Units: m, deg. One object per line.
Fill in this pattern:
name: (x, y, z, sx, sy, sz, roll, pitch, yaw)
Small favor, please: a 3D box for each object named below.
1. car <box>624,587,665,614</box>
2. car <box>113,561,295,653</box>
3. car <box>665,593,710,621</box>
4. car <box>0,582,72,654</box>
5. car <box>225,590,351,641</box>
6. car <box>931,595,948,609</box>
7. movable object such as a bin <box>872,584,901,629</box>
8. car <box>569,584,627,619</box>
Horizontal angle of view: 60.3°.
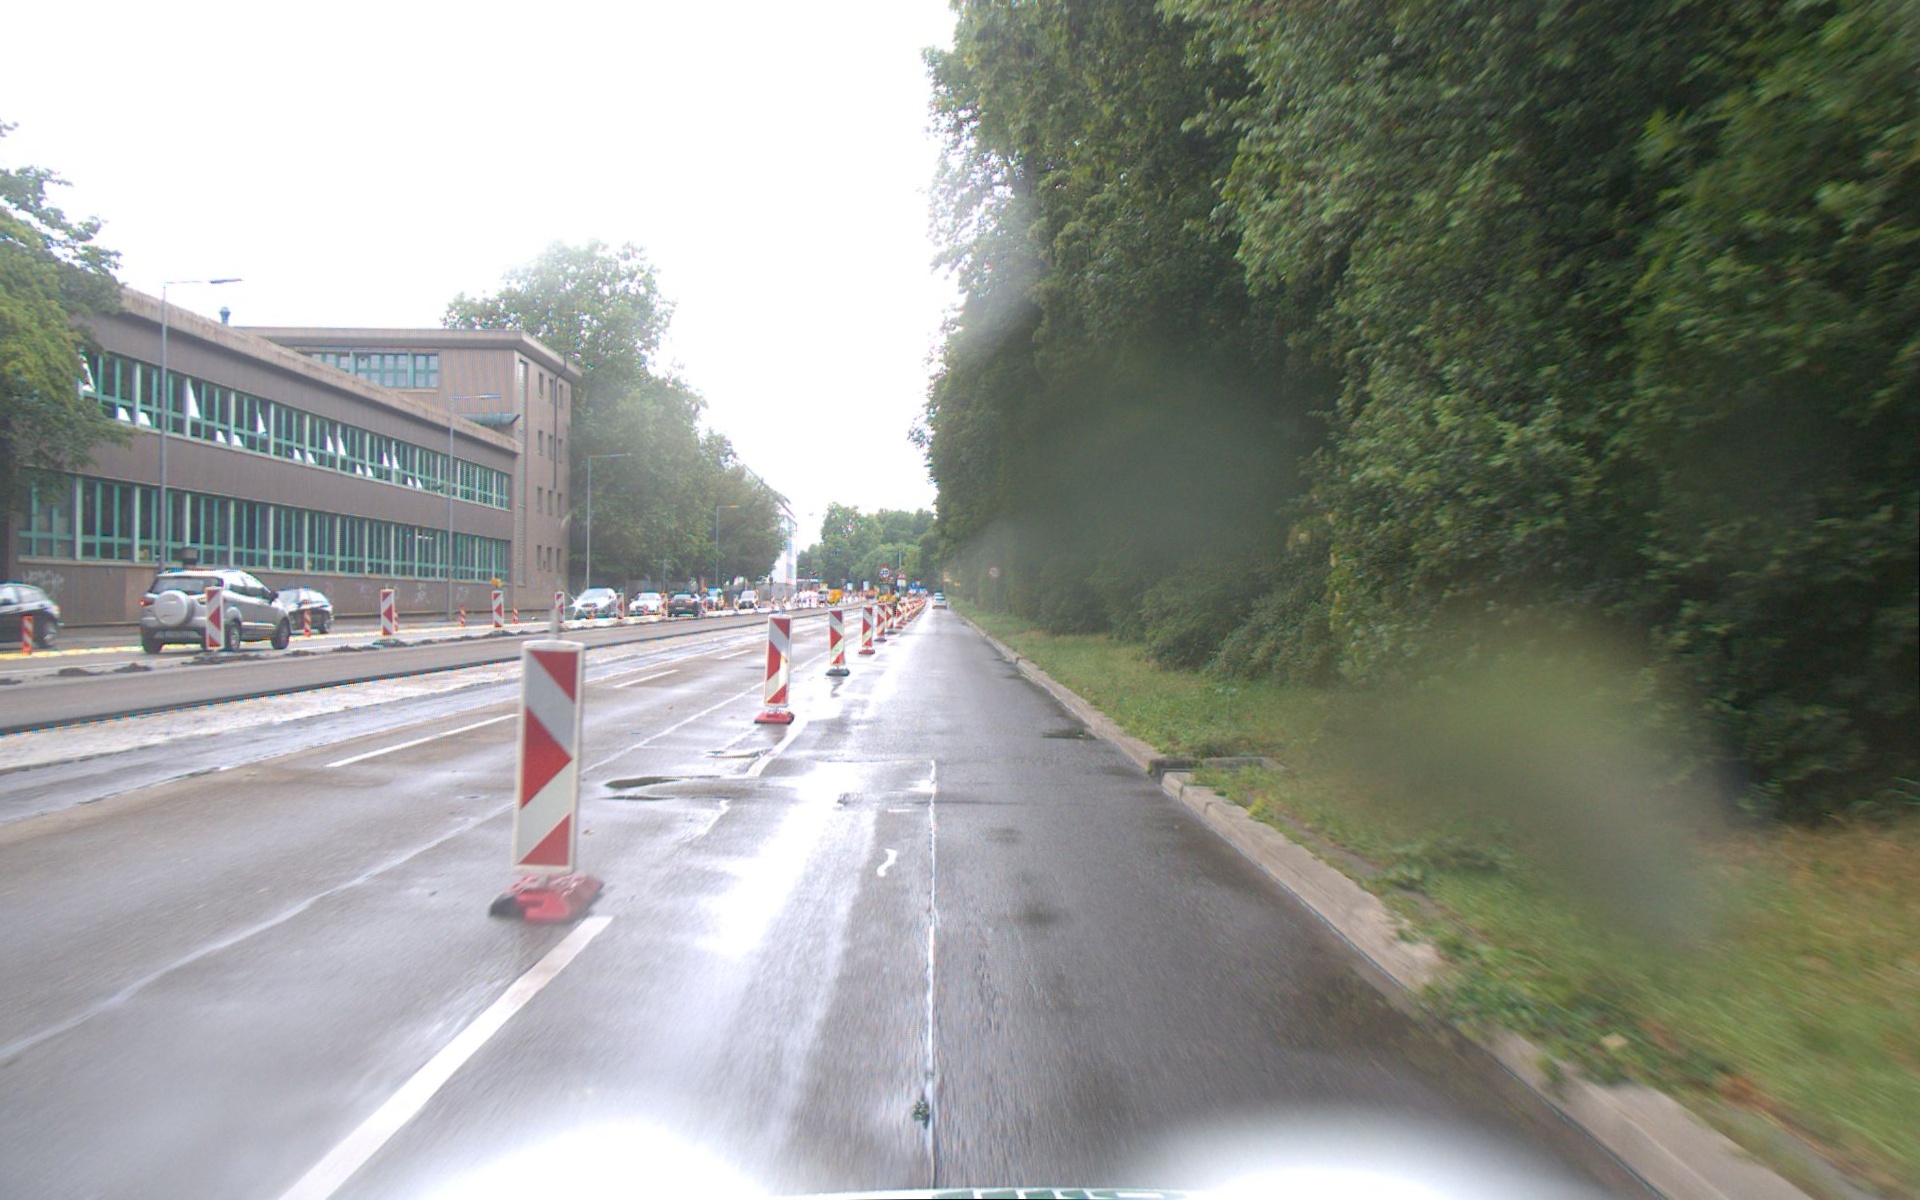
car: (-19.456, 0.046, 102.110, 1.767, 1.561, 3.991, 2, 0, -1)
car: (-15.040, 0.152, 33.143, 1.817, 1.677, 3.999, 2, 0, -1)
car: (-15.859, 0.390, 96.369, 1.953, 1.545, 3.999, 2, 0, -1)
car: (-20.814, 0.352, 34.882, 1.953, 1.454, 4.263, 1, 0, -2)
car: (-21.066, 0.488, 52.077, 2.005, 1.480, 4.763, 2, 0, -1)
car: (-2.560, 0.278, 205.801, 1.953, 1.702, 3.999, 2, 0, -1)
movable object such as a bin: (-5.680, 0.517, 128.548, 1.953, 3.426, 5.981, 2, -1, -1)
car: (-19.212, 0.099, 87.954, 1.948, 1.799, 4.674, 2, 0, 0)
